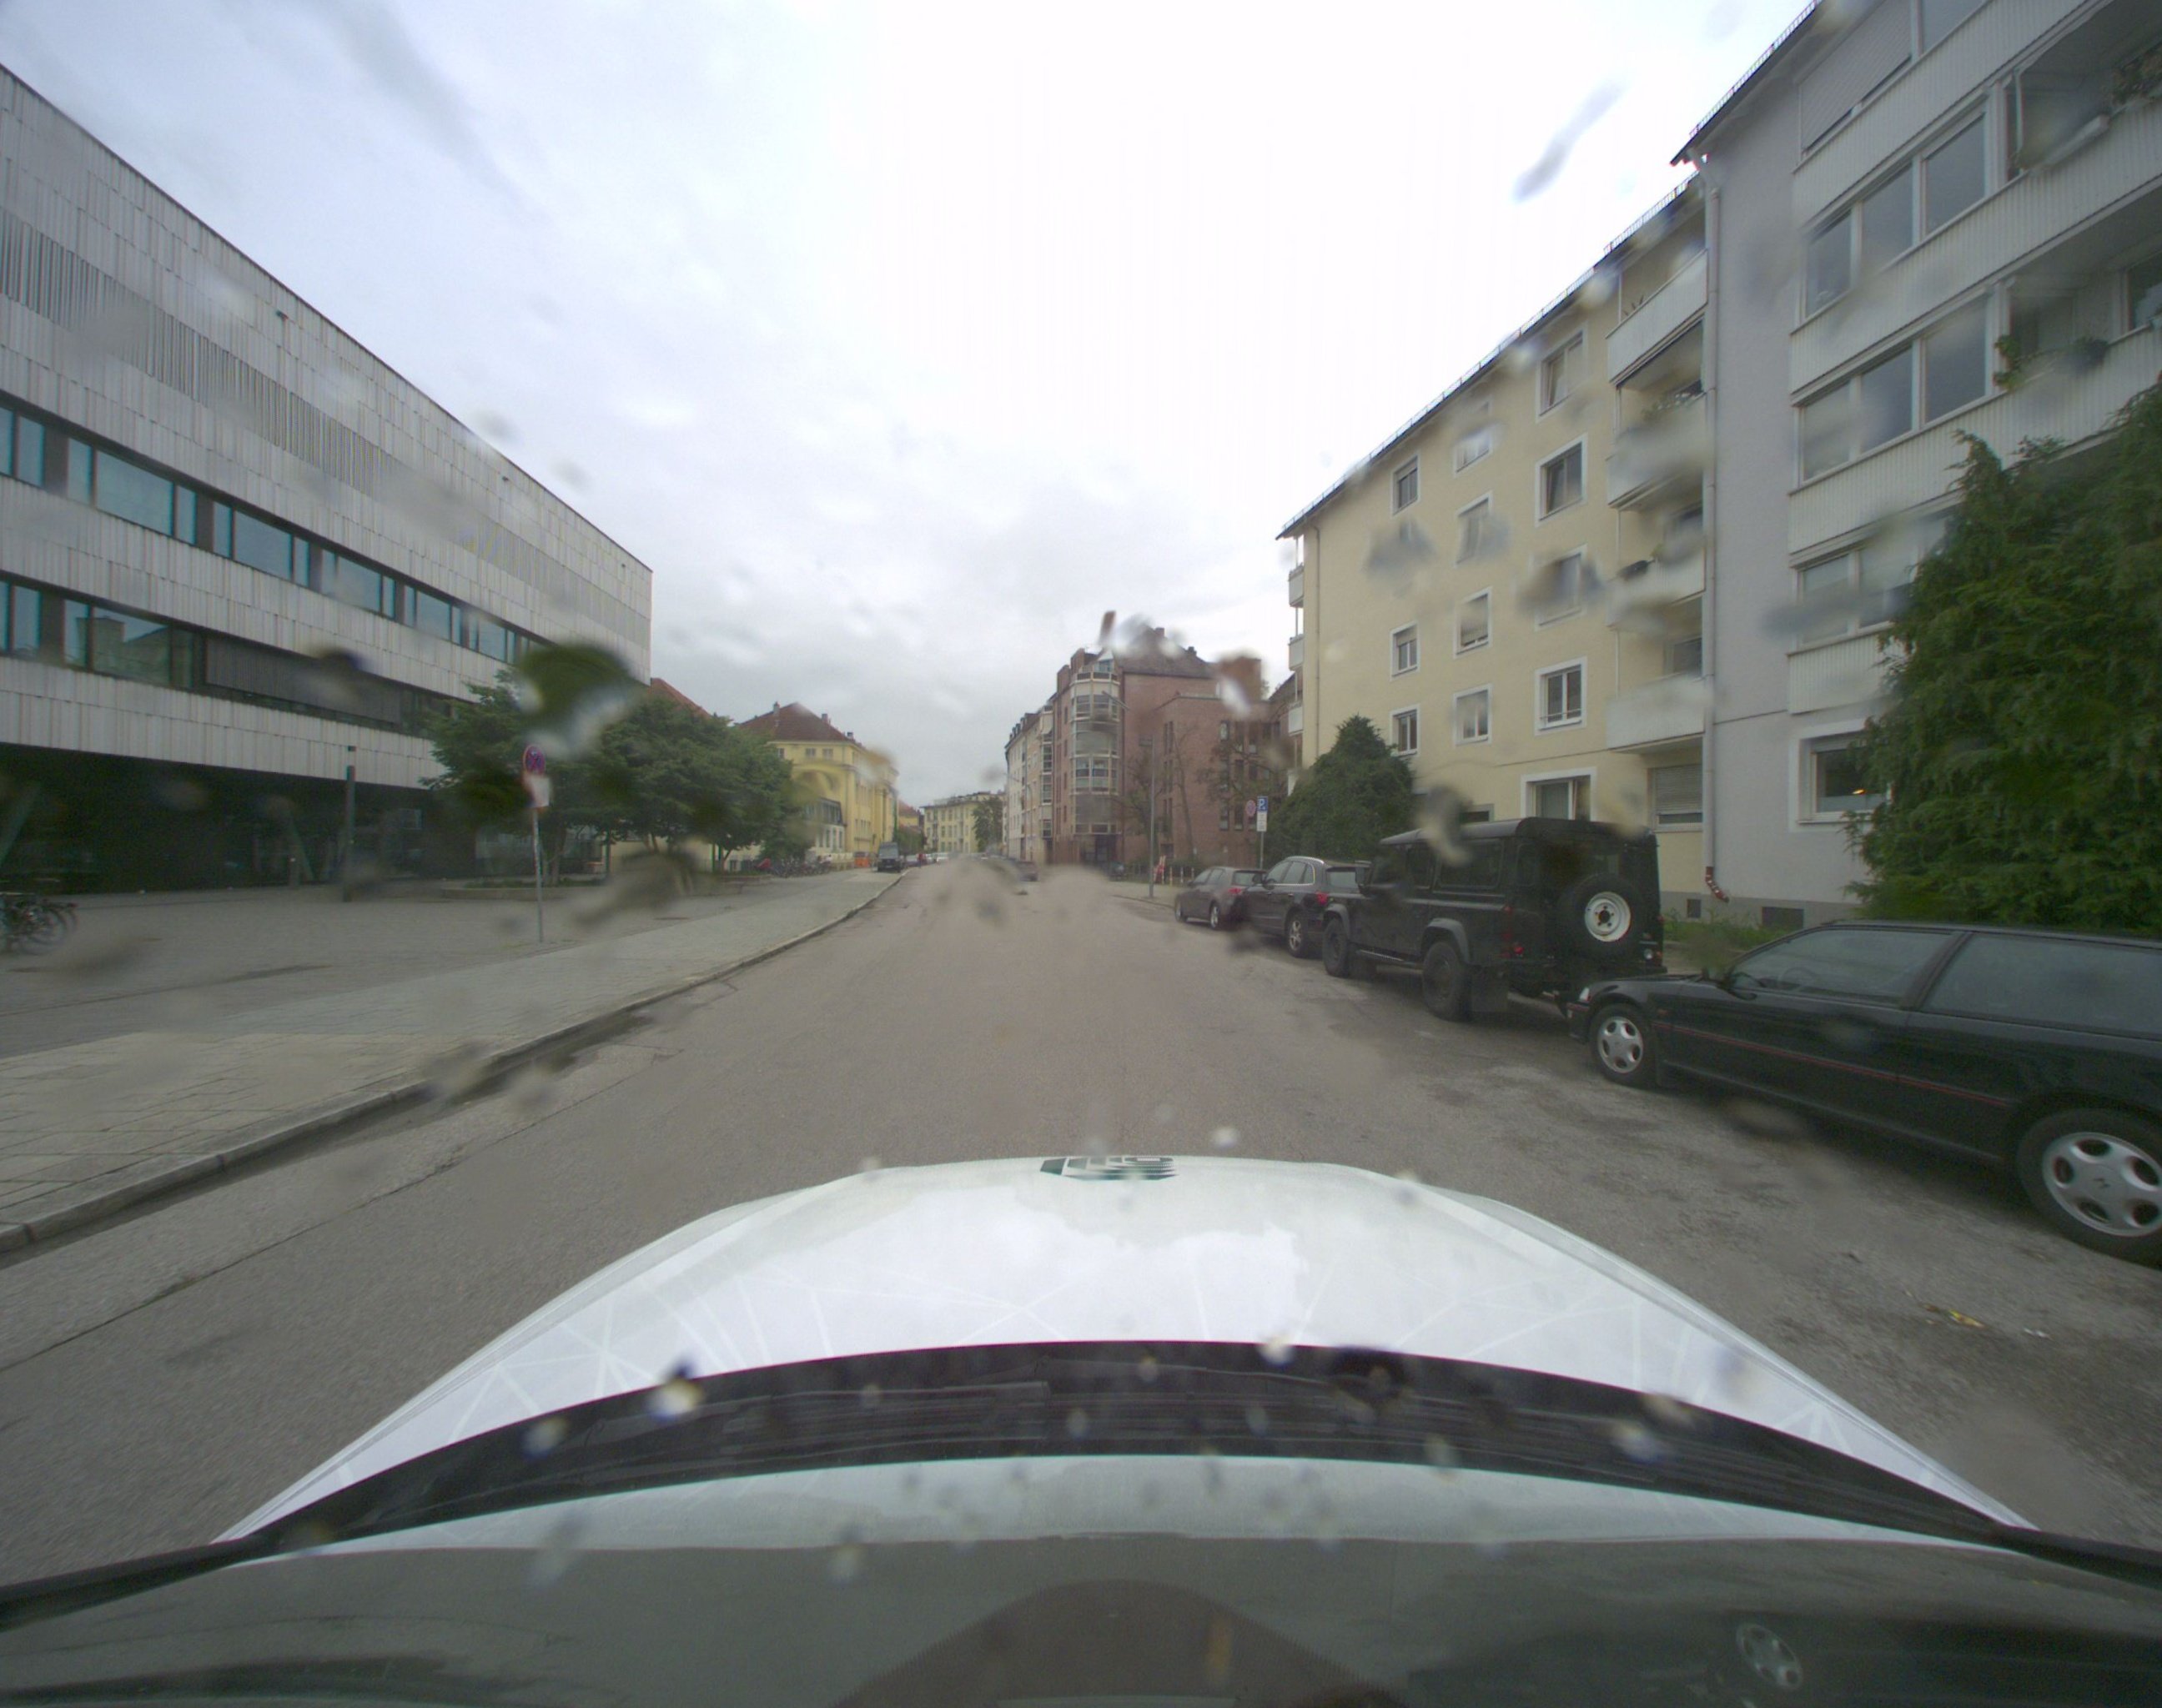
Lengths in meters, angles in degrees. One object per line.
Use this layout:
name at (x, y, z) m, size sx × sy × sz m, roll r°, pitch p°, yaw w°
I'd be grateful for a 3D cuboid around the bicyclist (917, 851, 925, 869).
bicyclist at (-17.806, 0.662, 90.696) m, size 0.765 × 2.013 × 0.766 m, roll -3°, pitch 1°, yaw -6°

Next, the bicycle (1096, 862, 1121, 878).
bicycle at (2.087, 1.194, 62.411) m, size 1.845 × 1.147 × 0.487 m, roll 2°, pitch 0°, yaw -6°

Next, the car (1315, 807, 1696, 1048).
car at (4.414, 0.634, 9.443) m, size 1.744 × 2.081 × 4.508 m, roll 2°, pitch 1°, yaw -5°

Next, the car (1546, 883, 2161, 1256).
car at (4.784, 0.917, 4.710) m, size 1.657 × 1.349 × 3.793 m, roll 2°, pitch -1°, yaw -8°

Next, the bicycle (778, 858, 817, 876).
bicycle at (-20.131, 0.927, 57.864) m, size 2.546 × 1.206 × 0.424 m, roll 1°, pitch 0°, yaw -2°

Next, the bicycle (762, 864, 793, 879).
bicycle at (-19.114, 1.113, 51.258) m, size 1.716 × 0.862 × 0.438 m, roll 2°, pitch 0°, yaw -5°

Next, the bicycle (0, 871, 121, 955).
bicycle at (-15.231, 0.822, 11.619) m, size 2.044 × 1.111 × 0.615 m, roll 2°, pitch 0°, yaw -9°

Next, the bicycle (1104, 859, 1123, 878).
bicycle at (2.277, 1.009, 56.675) m, size 0.535 × 1.248 × 2.399 m, roll 2°, pitch -2°, yaw -17°

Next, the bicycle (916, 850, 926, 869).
bicycle at (-17.791, 0.554, 90.512) m, size 0.747 × 2.013 × 2.842 m, roll -1°, pitch 1°, yaw -5°

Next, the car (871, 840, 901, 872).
car at (-17.583, 0.195, 73.675) m, size 2.424 × 2.715 × 5.927 m, roll -1°, pitch -1°, yaw -13°

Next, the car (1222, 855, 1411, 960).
car at (4.041, 0.840, 14.813) m, size 1.657 × 1.566 × 4.504 m, roll 2°, pitch -1°, yaw -7°

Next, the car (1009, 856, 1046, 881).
car at (-3.719, 0.971, 55.662) m, size 1.926 × 1.512 × 4.375 m, roll 2°, pitch 0°, yaw -11°

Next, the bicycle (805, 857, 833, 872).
bicycle at (-20.674, 0.864, 64.262) m, size 1.899 × 1.092 × 0.677 m, roll 2°, pitch 0°, yaw -2°

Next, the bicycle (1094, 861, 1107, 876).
bicycle at (1.536, 1.124, 63.946) m, size 0.486 × 1.060 × 1.986 m, roll 2°, pitch 0°, yaw -13°

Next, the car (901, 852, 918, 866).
car at (-21.027, 0.606, 100.051) m, size 1.771 × 1.550 × 3.767 m, roll 2°, pitch 1°, yaw -9°

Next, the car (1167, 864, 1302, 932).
car at (3.497, 0.969, 19.333) m, size 1.755 × 1.396 × 4.029 m, roll 2°, pitch -1°, yaw -11°

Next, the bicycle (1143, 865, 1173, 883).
bicycle at (4.583, 1.188, 48.625) m, size 1.701 × 0.965 × 0.544 m, roll 2°, pitch 0°, yaw -11°

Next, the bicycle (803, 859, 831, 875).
bicycle at (-20.317, 0.971, 62.638) m, size 1.951 × 1.131 × 0.573 m, roll 2°, pitch 0°, yaw -2°

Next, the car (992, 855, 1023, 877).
car at (-6.015, 0.970, 66.198) m, size 1.833 × 1.602 × 4.245 m, roll 2°, pitch 1°, yaw -15°

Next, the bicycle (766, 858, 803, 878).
bicycle at (-19.612, 0.901, 53.807) m, size 2.099 × 1.227 × 0.786 m, roll 2°, pitch 0°, yaw -2°

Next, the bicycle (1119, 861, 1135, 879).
bicycle at (3.103, 1.051, 55.020) m, size 0.416 × 1.173 × 1.370 m, roll 2°, pitch 0°, yaw 33°

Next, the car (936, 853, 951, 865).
car at (-20.174, 0.696, 119.228) m, size 2.026 × 1.621 × 4.489 m, roll -1°, pitch -1°, yaw -10°

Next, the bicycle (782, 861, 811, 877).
bicycle at (-19.938, 1.028, 57.098) m, size 1.786 × 1.033 × 0.507 m, roll 2°, pitch 0°, yaw -2°

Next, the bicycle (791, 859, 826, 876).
bicycle at (-20.049, 1.015, 59.925) m, size 2.303 × 1.135 × 0.581 m, roll 2°, pitch 0°, yaw -2°

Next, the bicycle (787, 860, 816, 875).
bicycle at (-20.089, 0.959, 58.559) m, size 1.861 × 1.029 × 0.539 m, roll 2°, pitch 0°, yaw -2°

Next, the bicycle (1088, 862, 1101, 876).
bicycle at (1.027, 1.141, 63.808) m, size 0.486 × 1.060 × 1.986 m, roll 2°, pitch -1°, yaw -13°

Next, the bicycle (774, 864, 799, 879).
bicycle at (-18.934, 1.113, 52.370) m, size 1.369 × 0.862 × 0.438 m, roll 2°, pitch 0°, yaw -5°

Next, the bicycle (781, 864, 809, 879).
bicycle at (-19.494, 1.175, 55.602) m, size 1.670 × 0.916 × 0.595 m, roll 2°, pitch 0°, yaw -2°

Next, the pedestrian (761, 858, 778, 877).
pedestrian at (-19.882, 0.861, 51.962) m, size 0.717 × 1.163 × 1.038 m, roll 2°, pitch 0°, yaw -6°
